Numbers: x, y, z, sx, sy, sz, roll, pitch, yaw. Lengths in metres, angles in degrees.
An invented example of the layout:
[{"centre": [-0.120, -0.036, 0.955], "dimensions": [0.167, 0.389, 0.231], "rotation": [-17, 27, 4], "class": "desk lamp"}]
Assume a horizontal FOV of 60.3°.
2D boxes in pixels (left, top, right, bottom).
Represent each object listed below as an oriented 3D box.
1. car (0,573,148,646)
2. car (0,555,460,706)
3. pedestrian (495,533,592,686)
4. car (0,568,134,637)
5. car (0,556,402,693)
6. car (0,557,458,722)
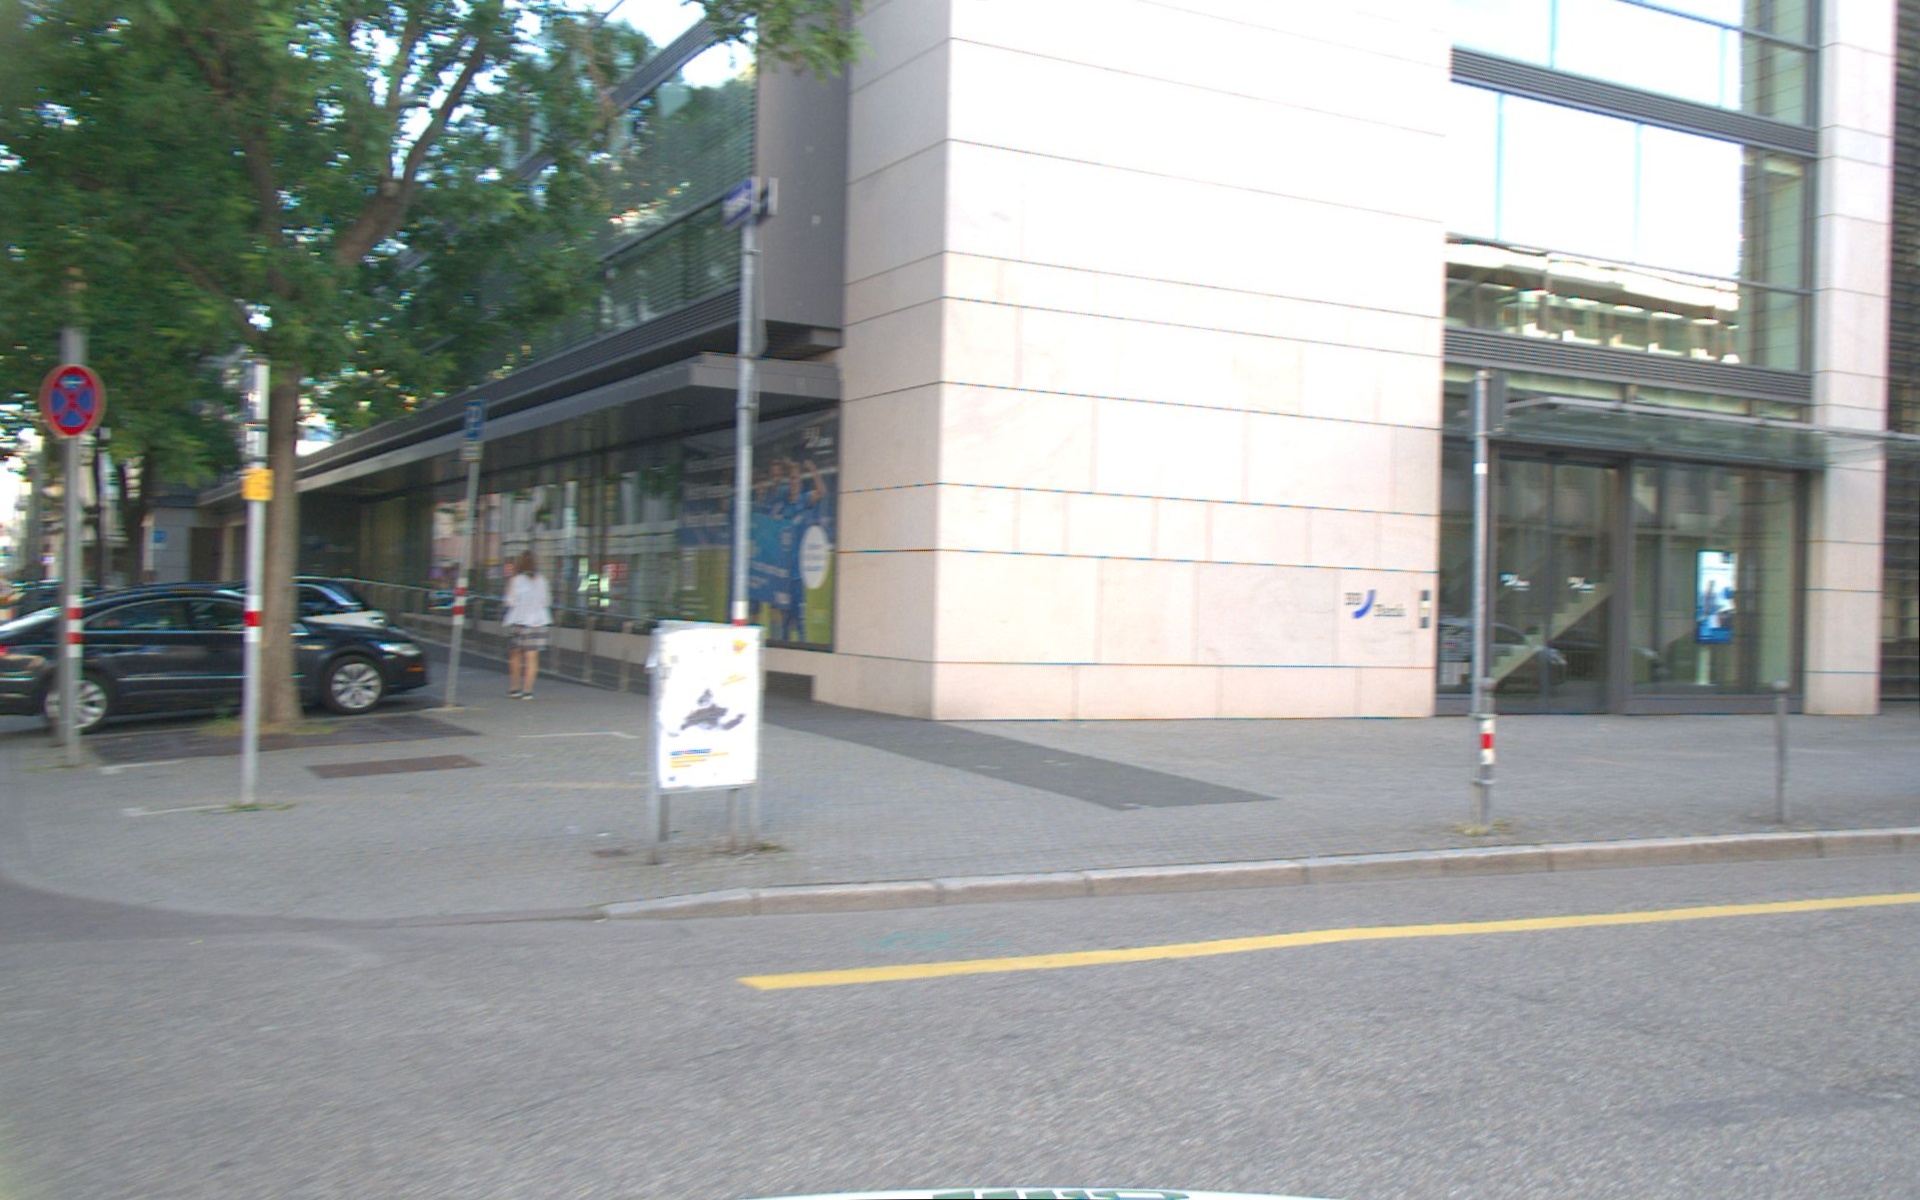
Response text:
[{"centre": [-21.565, 0.238, 38.061], "dimensions": [4.959, 1.525, 1.977], "rotation": [-3, 2, -33], "class": "car"}, {"centre": [-8.988, 0.298, 20.525], "dimensions": [4.959, 1.525, 1.977], "rotation": [-3, 2, -33], "class": "car"}, {"centre": [-4.907, 0.103, 19.453], "dimensions": [0.895, 1.735, 0.826], "rotation": [-2, 1, -29], "class": "pedestrian"}, {"centre": [-22.919, 0.087, 40.119], "dimensions": [4.959, 1.525, 1.977], "rotation": [-3, 2, -33], "class": "car"}, {"centre": [-10.319, 0.262, 22.302], "dimensions": [4.959, 1.525, 1.977], "rotation": [-3, 2, -33], "class": "car"}, {"centre": [-8.253, 0.361, 18.040], "dimensions": [4.959, 1.477, 1.977], "rotation": [-3, 2, -33], "class": "car"}]
